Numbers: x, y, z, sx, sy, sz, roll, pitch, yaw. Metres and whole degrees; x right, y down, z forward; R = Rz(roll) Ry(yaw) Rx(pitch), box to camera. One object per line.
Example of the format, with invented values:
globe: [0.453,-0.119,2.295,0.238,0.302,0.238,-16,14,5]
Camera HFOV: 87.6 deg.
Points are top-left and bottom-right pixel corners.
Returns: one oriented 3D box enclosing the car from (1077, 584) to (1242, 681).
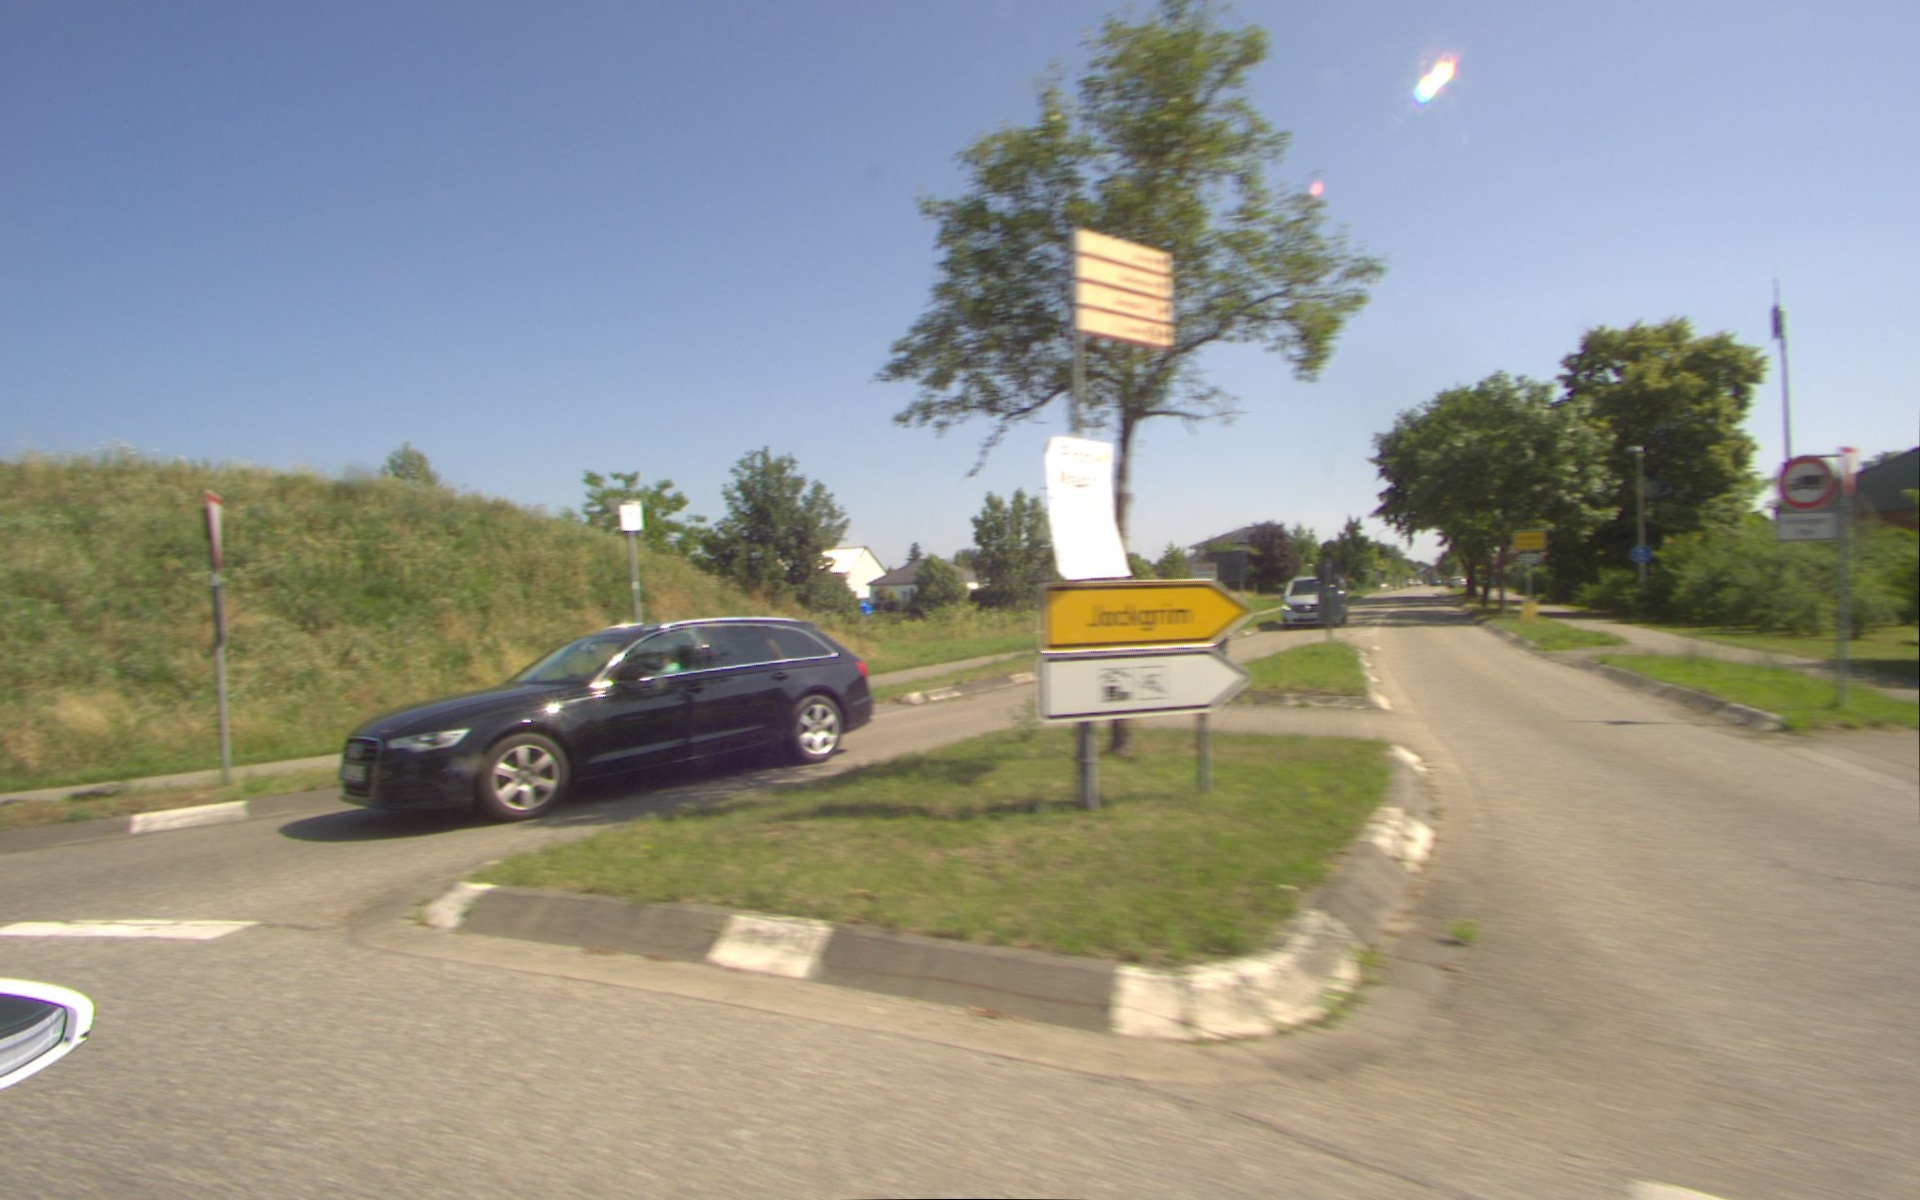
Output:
car: [4.188,0.581,20.388,1.790,1.661,4.632,-5,-1,30]

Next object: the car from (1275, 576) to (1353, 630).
car: [13.162,0.069,36.995,1.969,1.840,5.178,-1,1,28]

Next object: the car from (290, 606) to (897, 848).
car: [-3.000,0.921,9.181,1.903,1.452,4.870,-4,-1,41]
